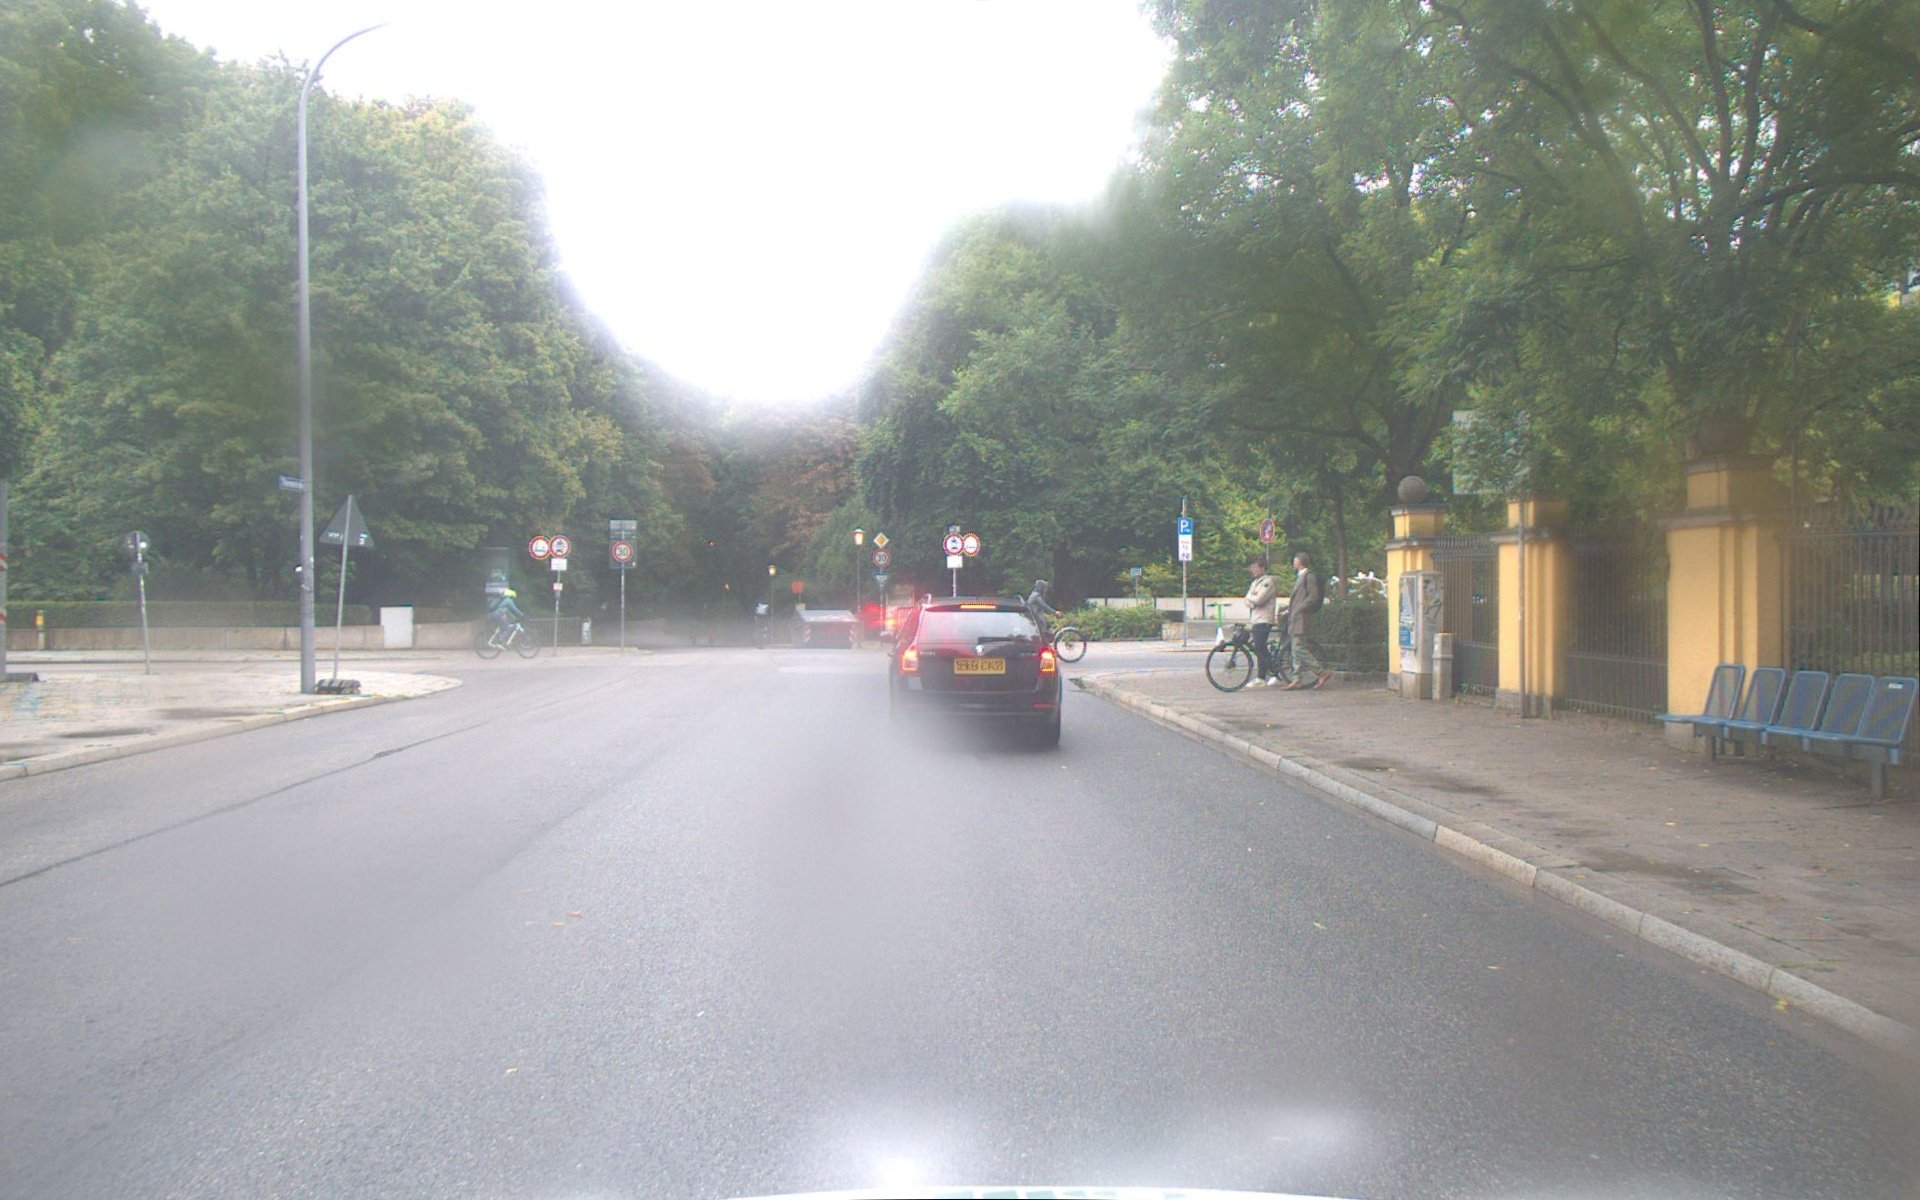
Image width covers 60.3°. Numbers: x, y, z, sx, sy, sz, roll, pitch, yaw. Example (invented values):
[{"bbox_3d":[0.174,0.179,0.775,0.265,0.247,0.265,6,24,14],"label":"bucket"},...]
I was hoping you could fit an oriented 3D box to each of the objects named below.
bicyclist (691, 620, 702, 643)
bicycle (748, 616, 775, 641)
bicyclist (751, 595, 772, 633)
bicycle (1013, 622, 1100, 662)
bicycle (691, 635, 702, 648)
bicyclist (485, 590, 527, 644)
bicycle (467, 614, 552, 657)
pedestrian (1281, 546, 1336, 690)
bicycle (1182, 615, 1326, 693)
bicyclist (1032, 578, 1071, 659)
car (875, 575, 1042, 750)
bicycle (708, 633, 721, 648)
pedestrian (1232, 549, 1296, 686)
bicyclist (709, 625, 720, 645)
[{"bbox_3d":[-18.112,2.160,113.578,0.669,1.530,0.898,-1,0,-12],"label":"bicyclist"},{"bbox_3d":[-6.903,0.984,57.592,0.665,0.844,2.110,-1,-1,0],"label":"bicycle"},{"bbox_3d":[-6.907,0.487,57.584,0.667,1.305,0.599,-1,0,0],"label":"bicyclist"},{"bbox_3d":[1.956,0.855,33.641,1.727,0.810,0.570,0,-1,-1],"label":"bicycle"},{"bbox_3d":[-18.088,2.872,113.465,0.667,0.844,2.103,0,-1,-12],"label":"bicycle"},{"bbox_3d":[-10.881,0.412,39.631,0.513,1.279,0.852,-1,-1,31],"label":"bicyclist"},{"bbox_3d":[-10.794,0.837,39.697,0.667,1.008,2.105,-1,-1,31],"label":"bicycle"},{"bbox_3d":[4.835,0.244,22.951,0.531,1.952,0.491,-2,0,-11],"label":"pedestrian"},{"bbox_3d":[4.153,0.757,23.377,1.871,0.966,0.581,-3,0,-10],"label":"bicycle"},{"bbox_3d":[1.849,0.377,33.607,0.735,1.613,0.655,0,-1,-1],"label":"bicyclist"},{"bbox_3d":[-0.031,0.576,17.437,1.545,1.611,4.044,-1,0,-1],"label":"car"},{"bbox_3d":[-15.070,2.471,101.490,0.667,0.844,2.104,0,-1,-11],"label":"bicycle"},{"bbox_3d":[4.423,0.252,24.072,0.662,1.952,0.639,-2,0,-11],"label":"pedestrian"},{"bbox_3d":[-15.075,2.154,101.515,0.669,1.208,0.479,-1,0,-12],"label":"bicyclist"}]
